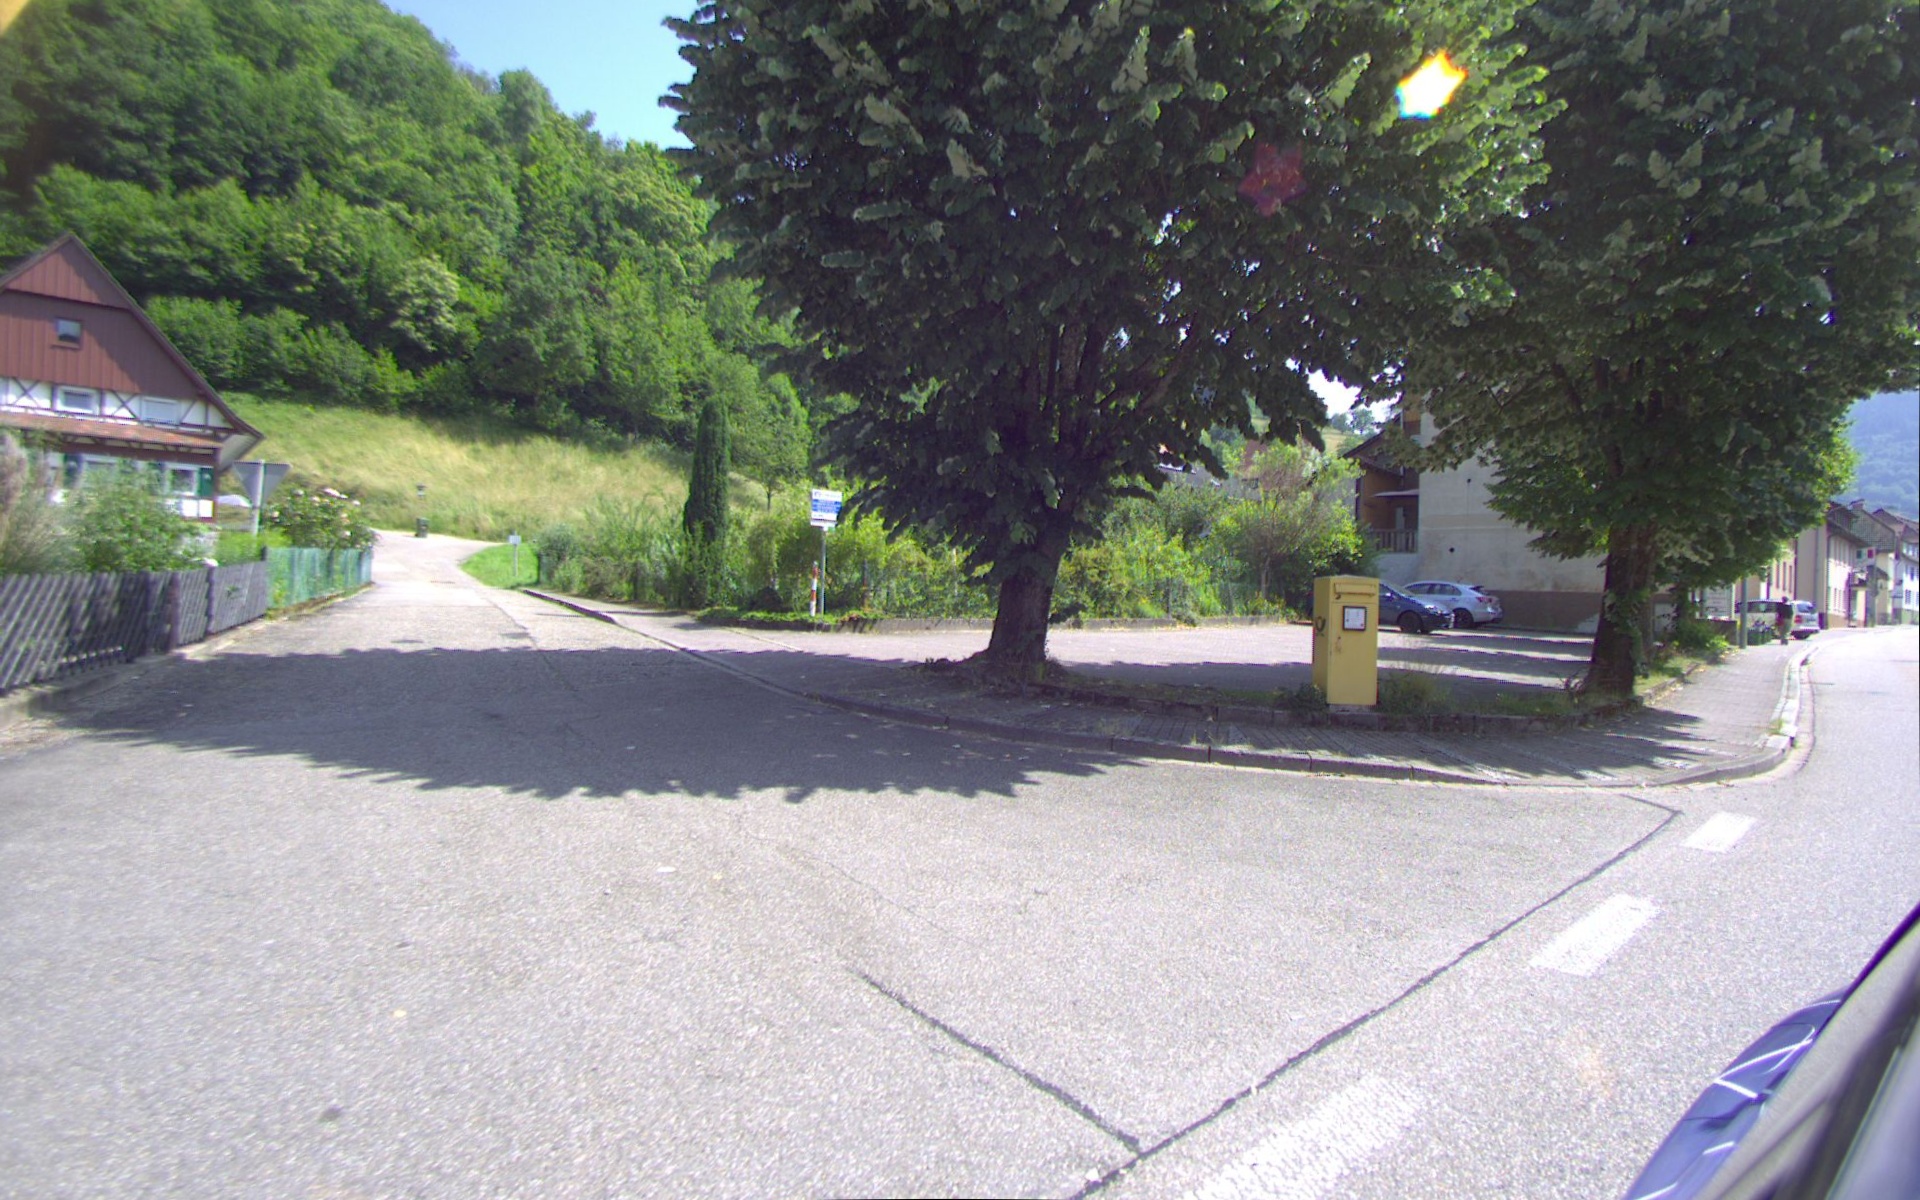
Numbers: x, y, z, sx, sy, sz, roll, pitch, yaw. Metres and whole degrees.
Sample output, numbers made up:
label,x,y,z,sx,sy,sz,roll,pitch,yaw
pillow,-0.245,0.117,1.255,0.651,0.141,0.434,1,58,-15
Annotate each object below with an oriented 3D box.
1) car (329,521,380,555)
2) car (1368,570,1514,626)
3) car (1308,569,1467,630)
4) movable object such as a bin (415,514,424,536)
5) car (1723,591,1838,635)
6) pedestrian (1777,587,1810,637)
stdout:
label,x,y,z,sx,sy,sz,roll,pitch,yaw
car,-26.685,-2.719,44.587,1.848,1.340,4.005,1,2,-31
car,15.498,-0.110,32.705,3.930,1.489,1.632,5,3,39
car,12.095,-0.042,28.766,3.829,1.424,1.544,5,3,40
movable object such as a bin,-29.358,-4.055,54.934,0.388,1.145,0.307,0,0,-33
car,34.633,0.531,42.785,1.616,1.615,3.354,1,2,-24
pedestrian,28.931,0.416,35.135,0.699,1.692,0.682,1,2,-36
